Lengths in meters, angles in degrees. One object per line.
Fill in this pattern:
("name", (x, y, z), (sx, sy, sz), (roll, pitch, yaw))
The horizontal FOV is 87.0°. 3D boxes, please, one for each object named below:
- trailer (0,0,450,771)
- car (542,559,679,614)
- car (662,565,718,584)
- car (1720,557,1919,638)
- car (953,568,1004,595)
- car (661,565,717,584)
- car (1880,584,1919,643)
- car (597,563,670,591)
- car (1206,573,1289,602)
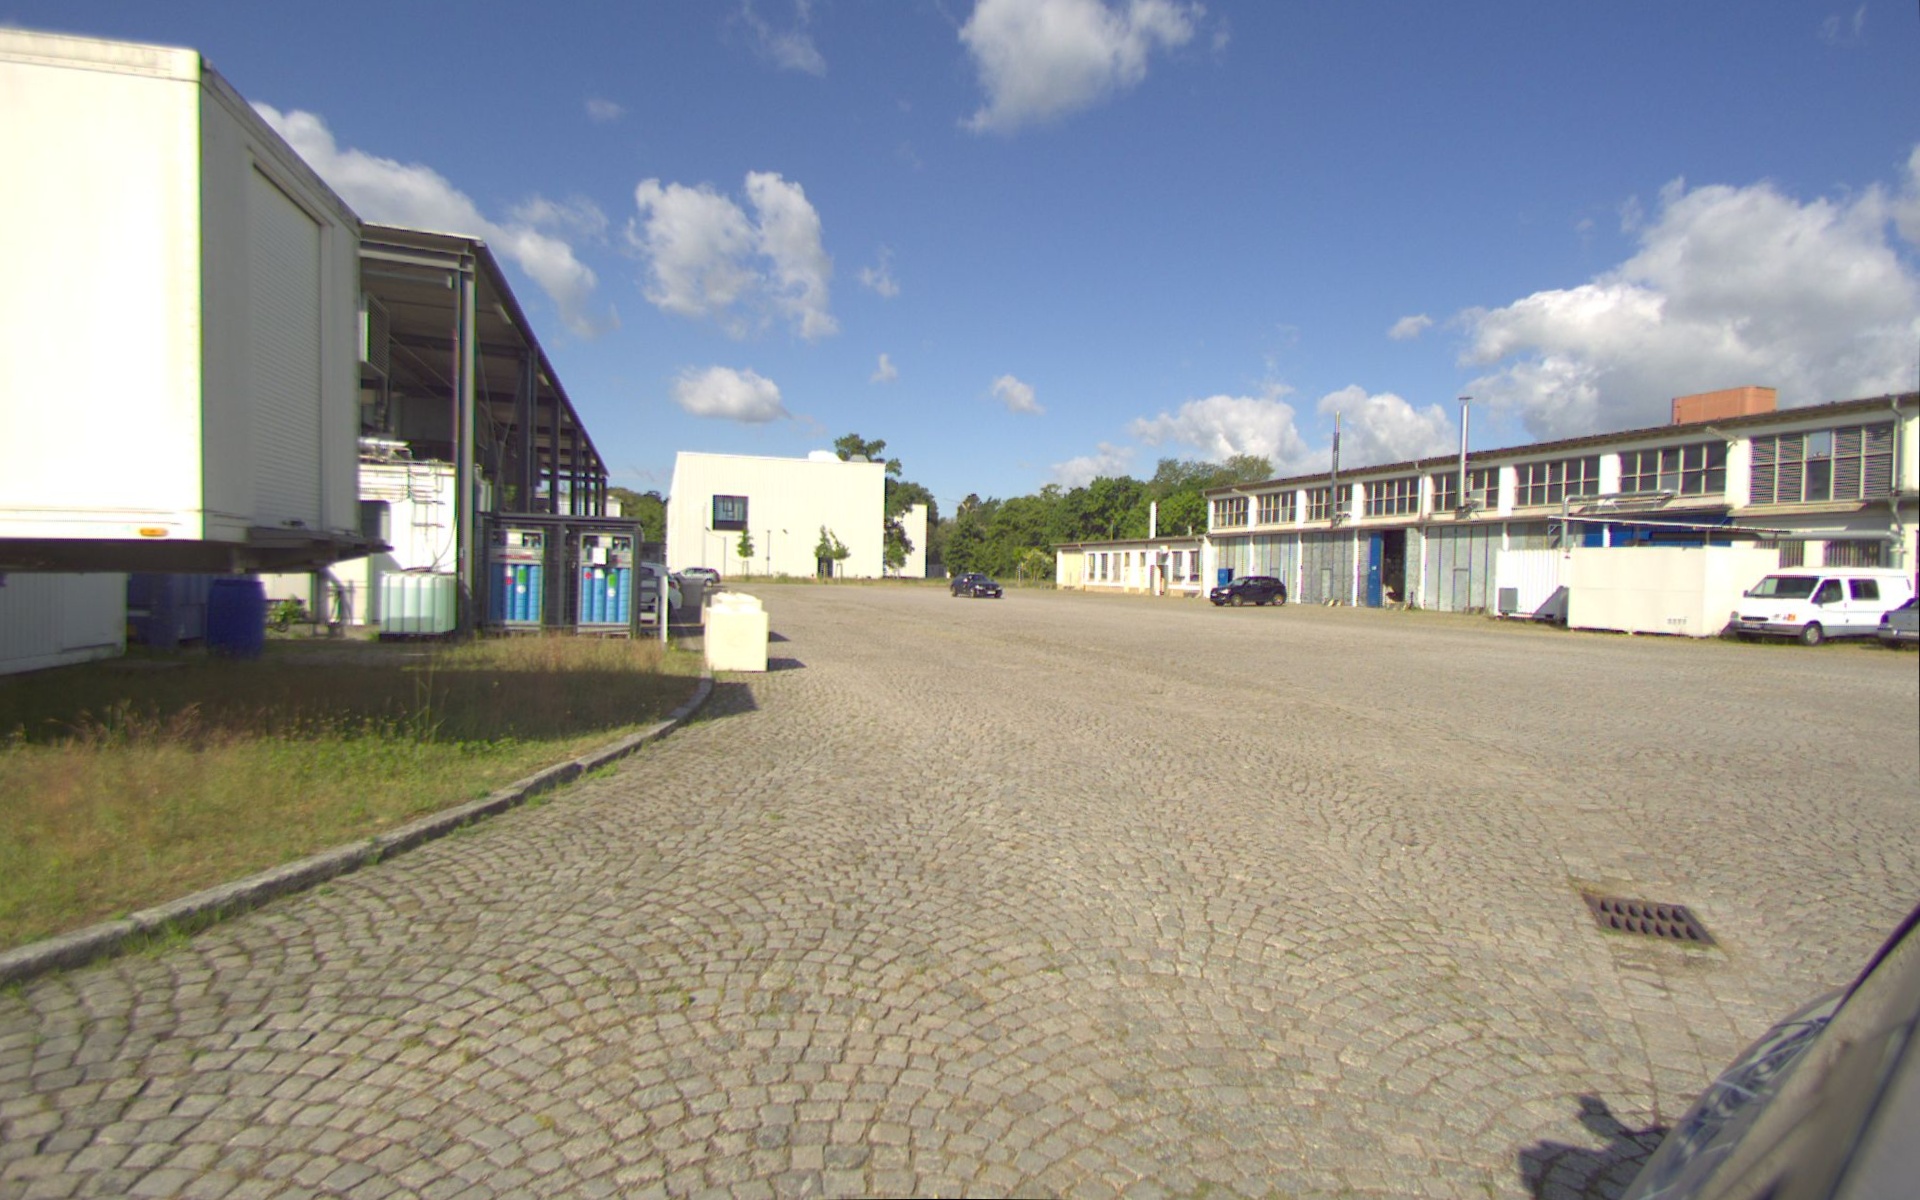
("trailer", (-8.796, -1.248, 5.184), (10.657, 3.959, 2.788), (1, 1, -15))
("car", (-9.429, -0.365, 27.392), (3.400, 1.393, 1.615), (1, 1, -20))
("car", (-21.793, -2.056, 81.673), (4.267, 1.488, 1.745), (1, 1, -18))
("car", (23.772, -0.104, 27.845), (4.704, 2.107, 2.014), (0, 1, -14))
("car", (1.032, -1.091, 58.845), (1.704, 1.447, 4.085), (1, 1, -19))
("car", (-21.057, -1.982, 78.505), (4.100, 1.421, 1.745), (1, 1, -18))
("car", (25.295, 0.362, 25.194), (3.751, 1.416, 1.696), (1, 2, -14))
("car", (-17.374, -1.235, 53.866), (3.620, 1.426, 1.679), (1, 1, -20))
("car", (15.386, -0.681, 54.166), (3.990, 1.488, 1.745), (0, 1, -18))
